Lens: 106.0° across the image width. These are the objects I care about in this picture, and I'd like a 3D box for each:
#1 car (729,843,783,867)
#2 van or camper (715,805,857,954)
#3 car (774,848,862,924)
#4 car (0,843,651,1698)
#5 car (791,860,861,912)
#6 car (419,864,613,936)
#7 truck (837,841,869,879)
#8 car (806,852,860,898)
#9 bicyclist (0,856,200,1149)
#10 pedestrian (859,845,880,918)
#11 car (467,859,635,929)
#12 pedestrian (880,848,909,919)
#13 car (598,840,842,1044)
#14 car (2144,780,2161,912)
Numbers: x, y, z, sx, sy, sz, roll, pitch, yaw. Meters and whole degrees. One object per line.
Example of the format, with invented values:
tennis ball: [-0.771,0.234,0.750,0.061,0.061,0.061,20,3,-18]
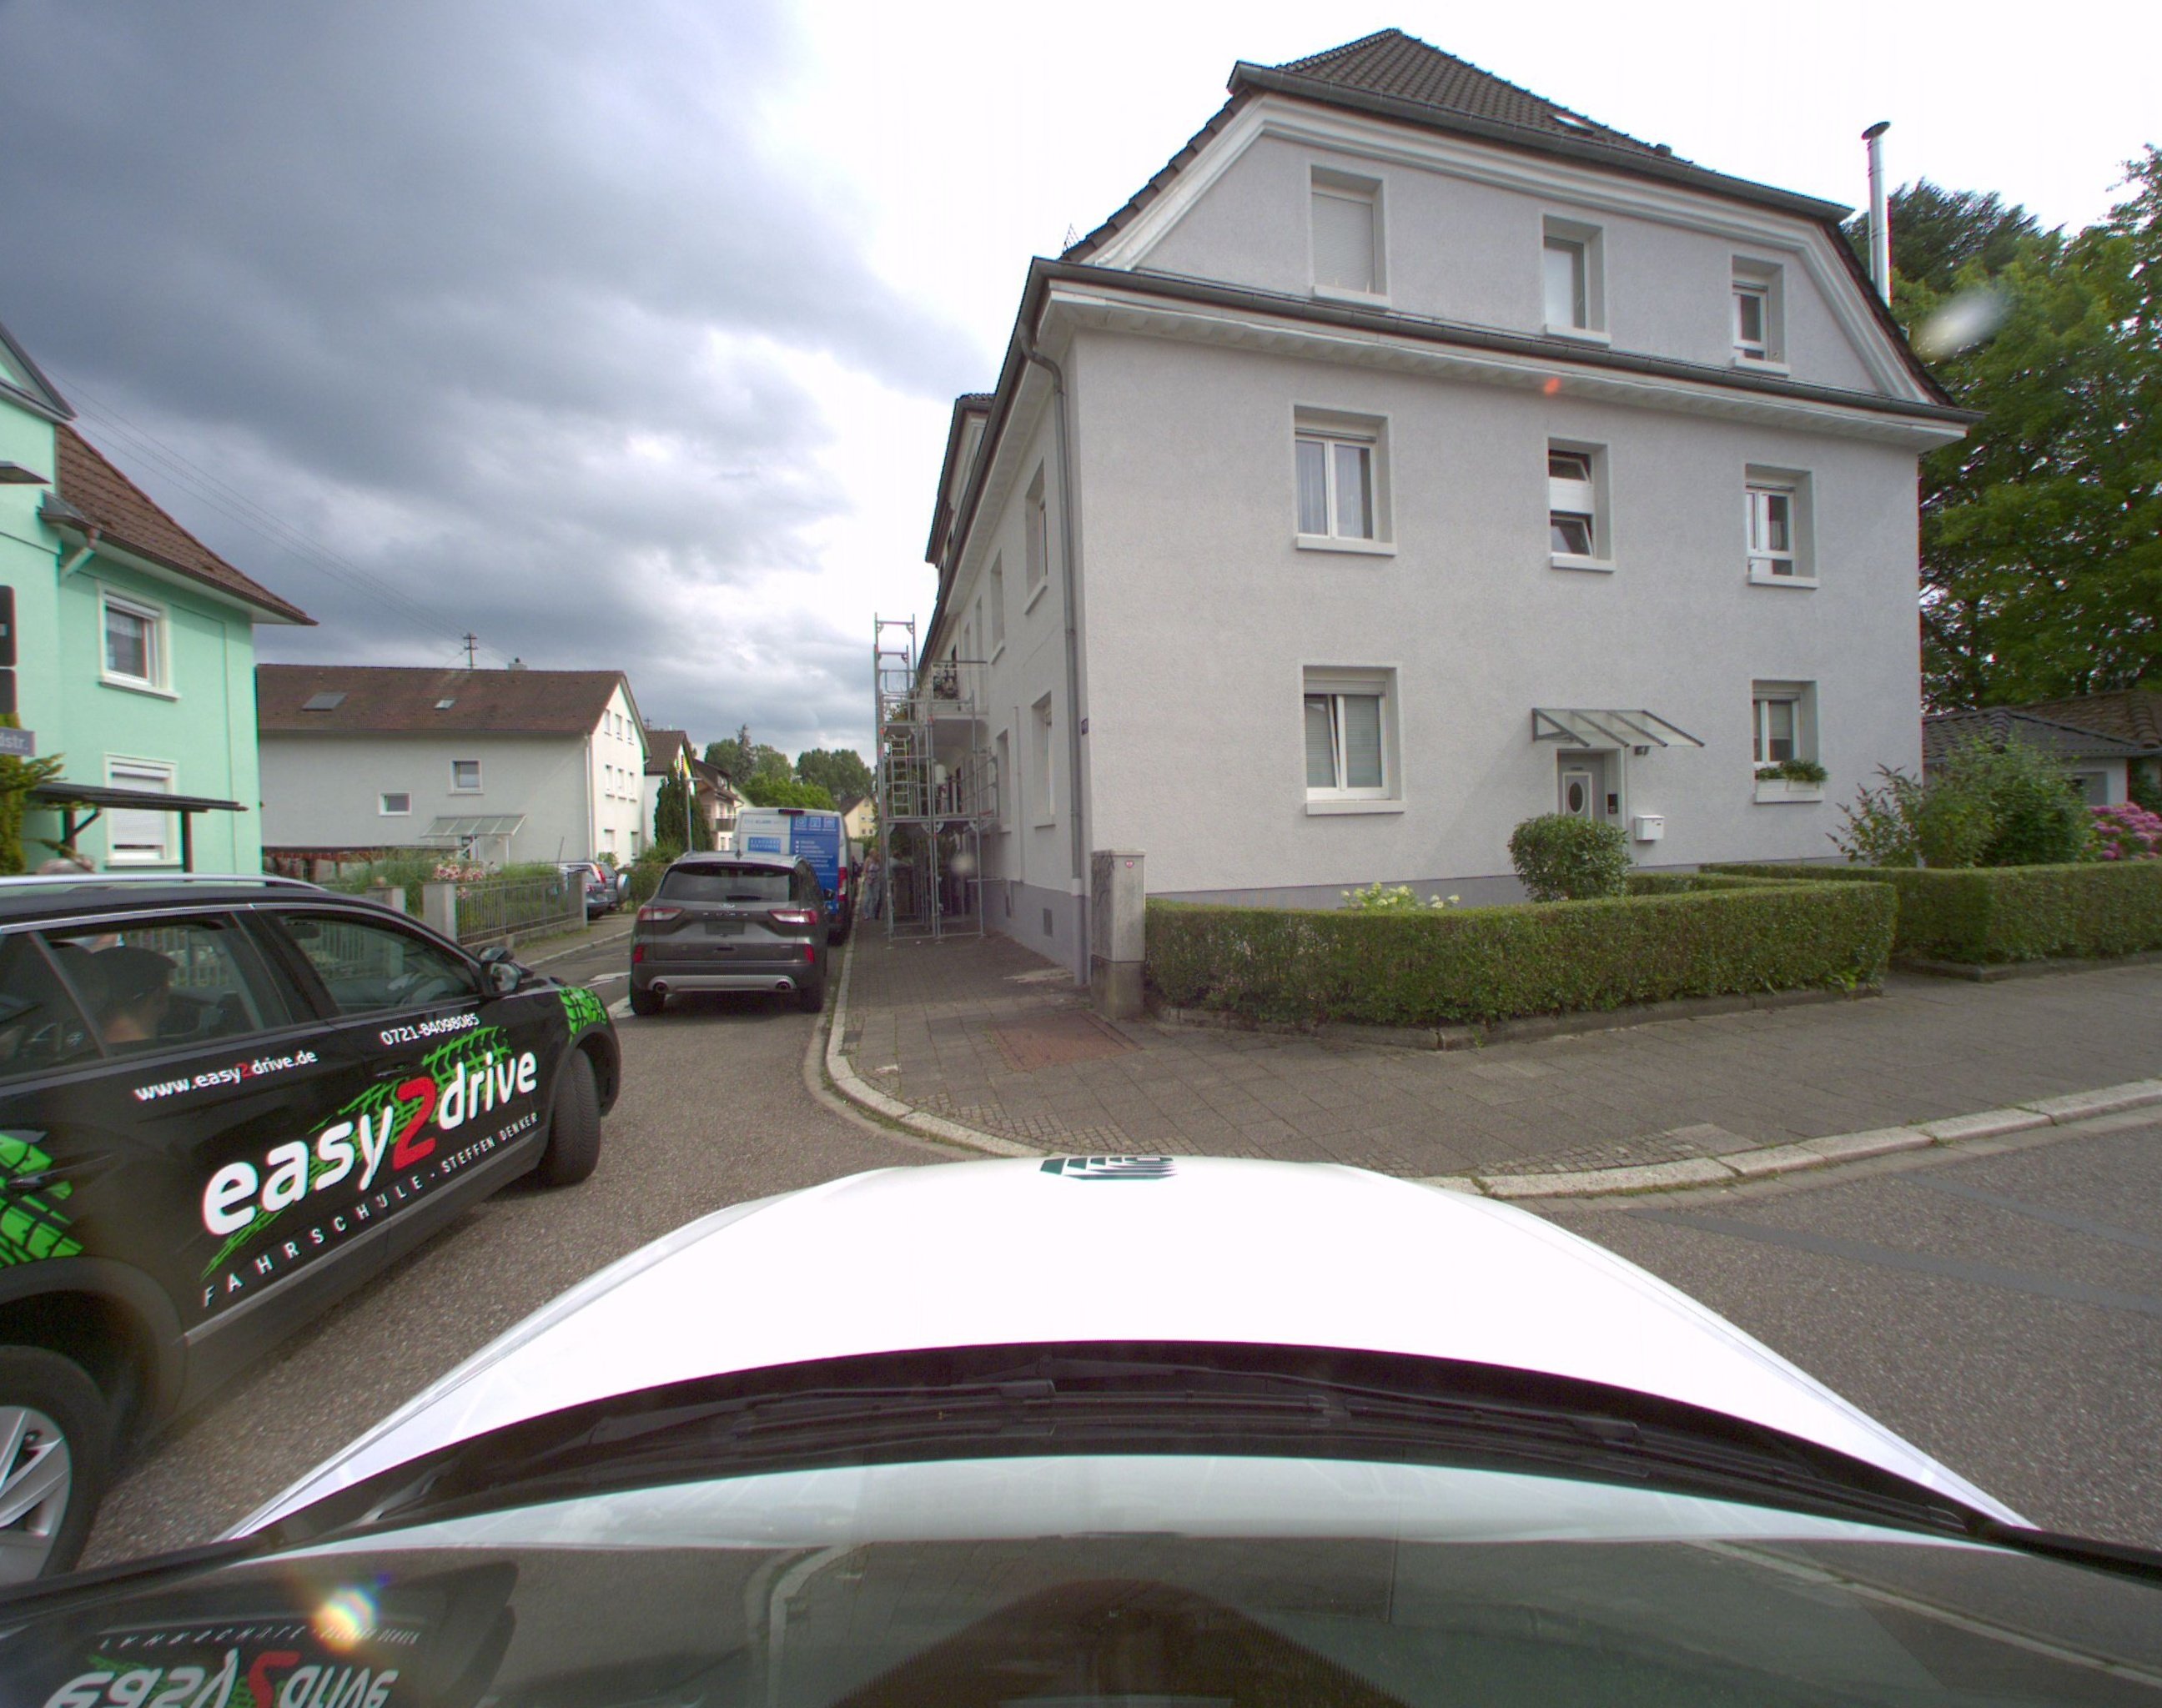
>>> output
car: [-26.895,0.078,67.510,3.998,1.772,1.858,-2,-1,-19]
van or camper: [-5.723,0.404,16.477,2.196,2.459,5.028,-2,1,-15]
car: [-7.119,0.771,22.186,1.999,1.772,4.316,-2,1,-17]
car: [-3.049,0.782,2.549,1.816,1.520,4.029,-2,-1,-10]
car: [-8.444,0.982,27.042,1.999,1.455,4.316,-2,1,-17]
car: [-13.829,1.080,20.154,3.582,1.500,1.577,-3,0,-19]
truck: [-17.217,0.420,61.419,2.135,2.657,4.558,-2,1,-17]
car: [-10.605,0.833,34.846,1.999,1.749,4.316,-2,1,-17]
bicyclist: [-6.453,0.858,5.144,0.695,1.666,0.974,-1,0,-4]
pedestrian: [-5.165,0.665,19.899,0.409,1.762,0.510,-2,-1,-18]
car: [-14.696,1.067,22.773,3.582,1.667,1.577,-3,0,-19]
pedestrian: [-4.442,0.695,19.418,0.602,1.629,0.622,-2,-1,-14]
car: [-3.906,0.766,9.549,1.999,1.726,4.316,-2,1,-17]
car: [17.106,-0.189,10.943,3.992,1.837,1.991,-2,1,-14]
